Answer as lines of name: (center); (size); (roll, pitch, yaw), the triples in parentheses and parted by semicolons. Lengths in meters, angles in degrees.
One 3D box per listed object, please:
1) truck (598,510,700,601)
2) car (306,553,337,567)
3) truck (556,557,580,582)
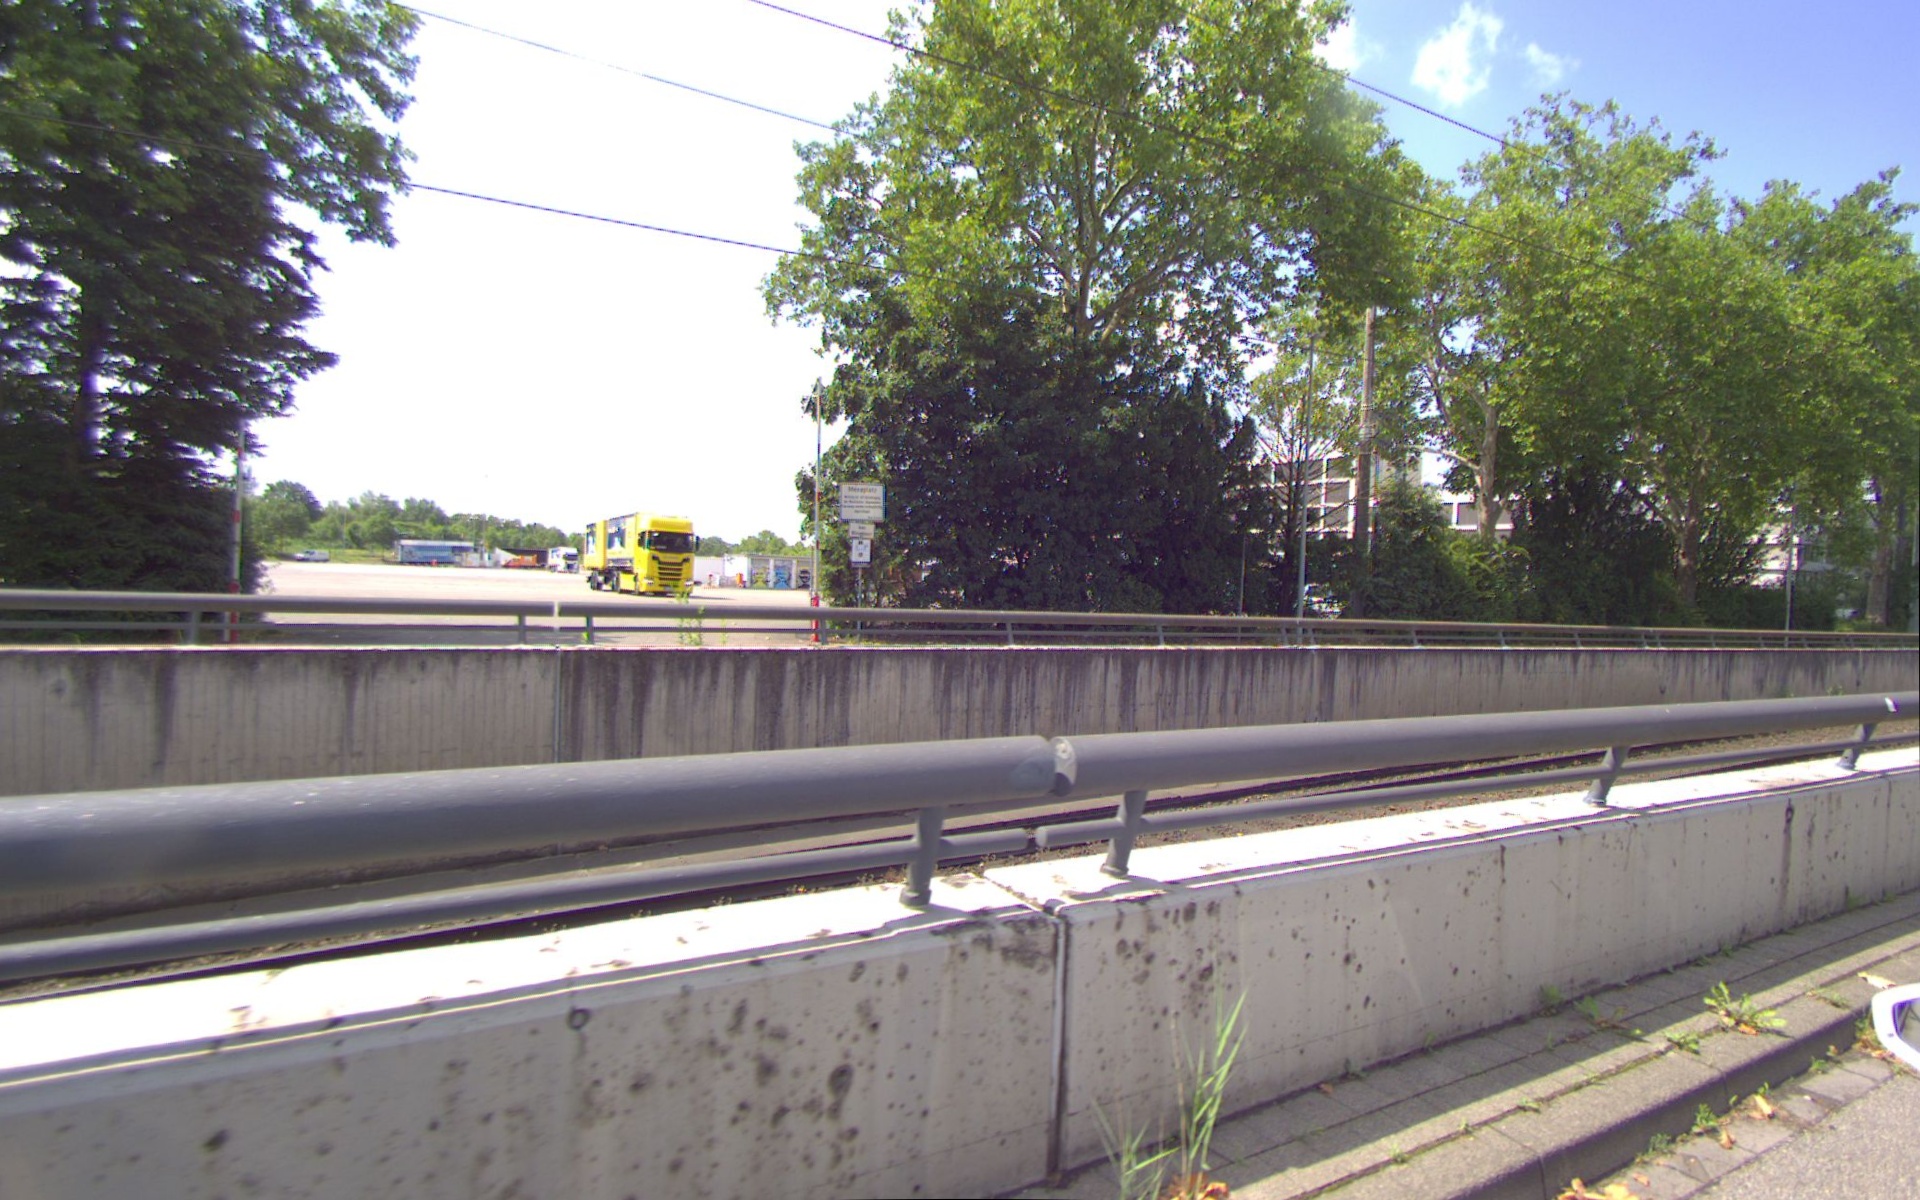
truck: (-16.584, -2.111, 52.719); (2.714, 4.128, 12.735); (2, 0, -28)
car: (-106.012, -6.586, 166.806); (1.961, 2.040, 3.998); (2, 0, 23)
truck: (-66.452, -5.141, 170.149); (2.851, 3.999, 8.226); (2, 0, -28)
